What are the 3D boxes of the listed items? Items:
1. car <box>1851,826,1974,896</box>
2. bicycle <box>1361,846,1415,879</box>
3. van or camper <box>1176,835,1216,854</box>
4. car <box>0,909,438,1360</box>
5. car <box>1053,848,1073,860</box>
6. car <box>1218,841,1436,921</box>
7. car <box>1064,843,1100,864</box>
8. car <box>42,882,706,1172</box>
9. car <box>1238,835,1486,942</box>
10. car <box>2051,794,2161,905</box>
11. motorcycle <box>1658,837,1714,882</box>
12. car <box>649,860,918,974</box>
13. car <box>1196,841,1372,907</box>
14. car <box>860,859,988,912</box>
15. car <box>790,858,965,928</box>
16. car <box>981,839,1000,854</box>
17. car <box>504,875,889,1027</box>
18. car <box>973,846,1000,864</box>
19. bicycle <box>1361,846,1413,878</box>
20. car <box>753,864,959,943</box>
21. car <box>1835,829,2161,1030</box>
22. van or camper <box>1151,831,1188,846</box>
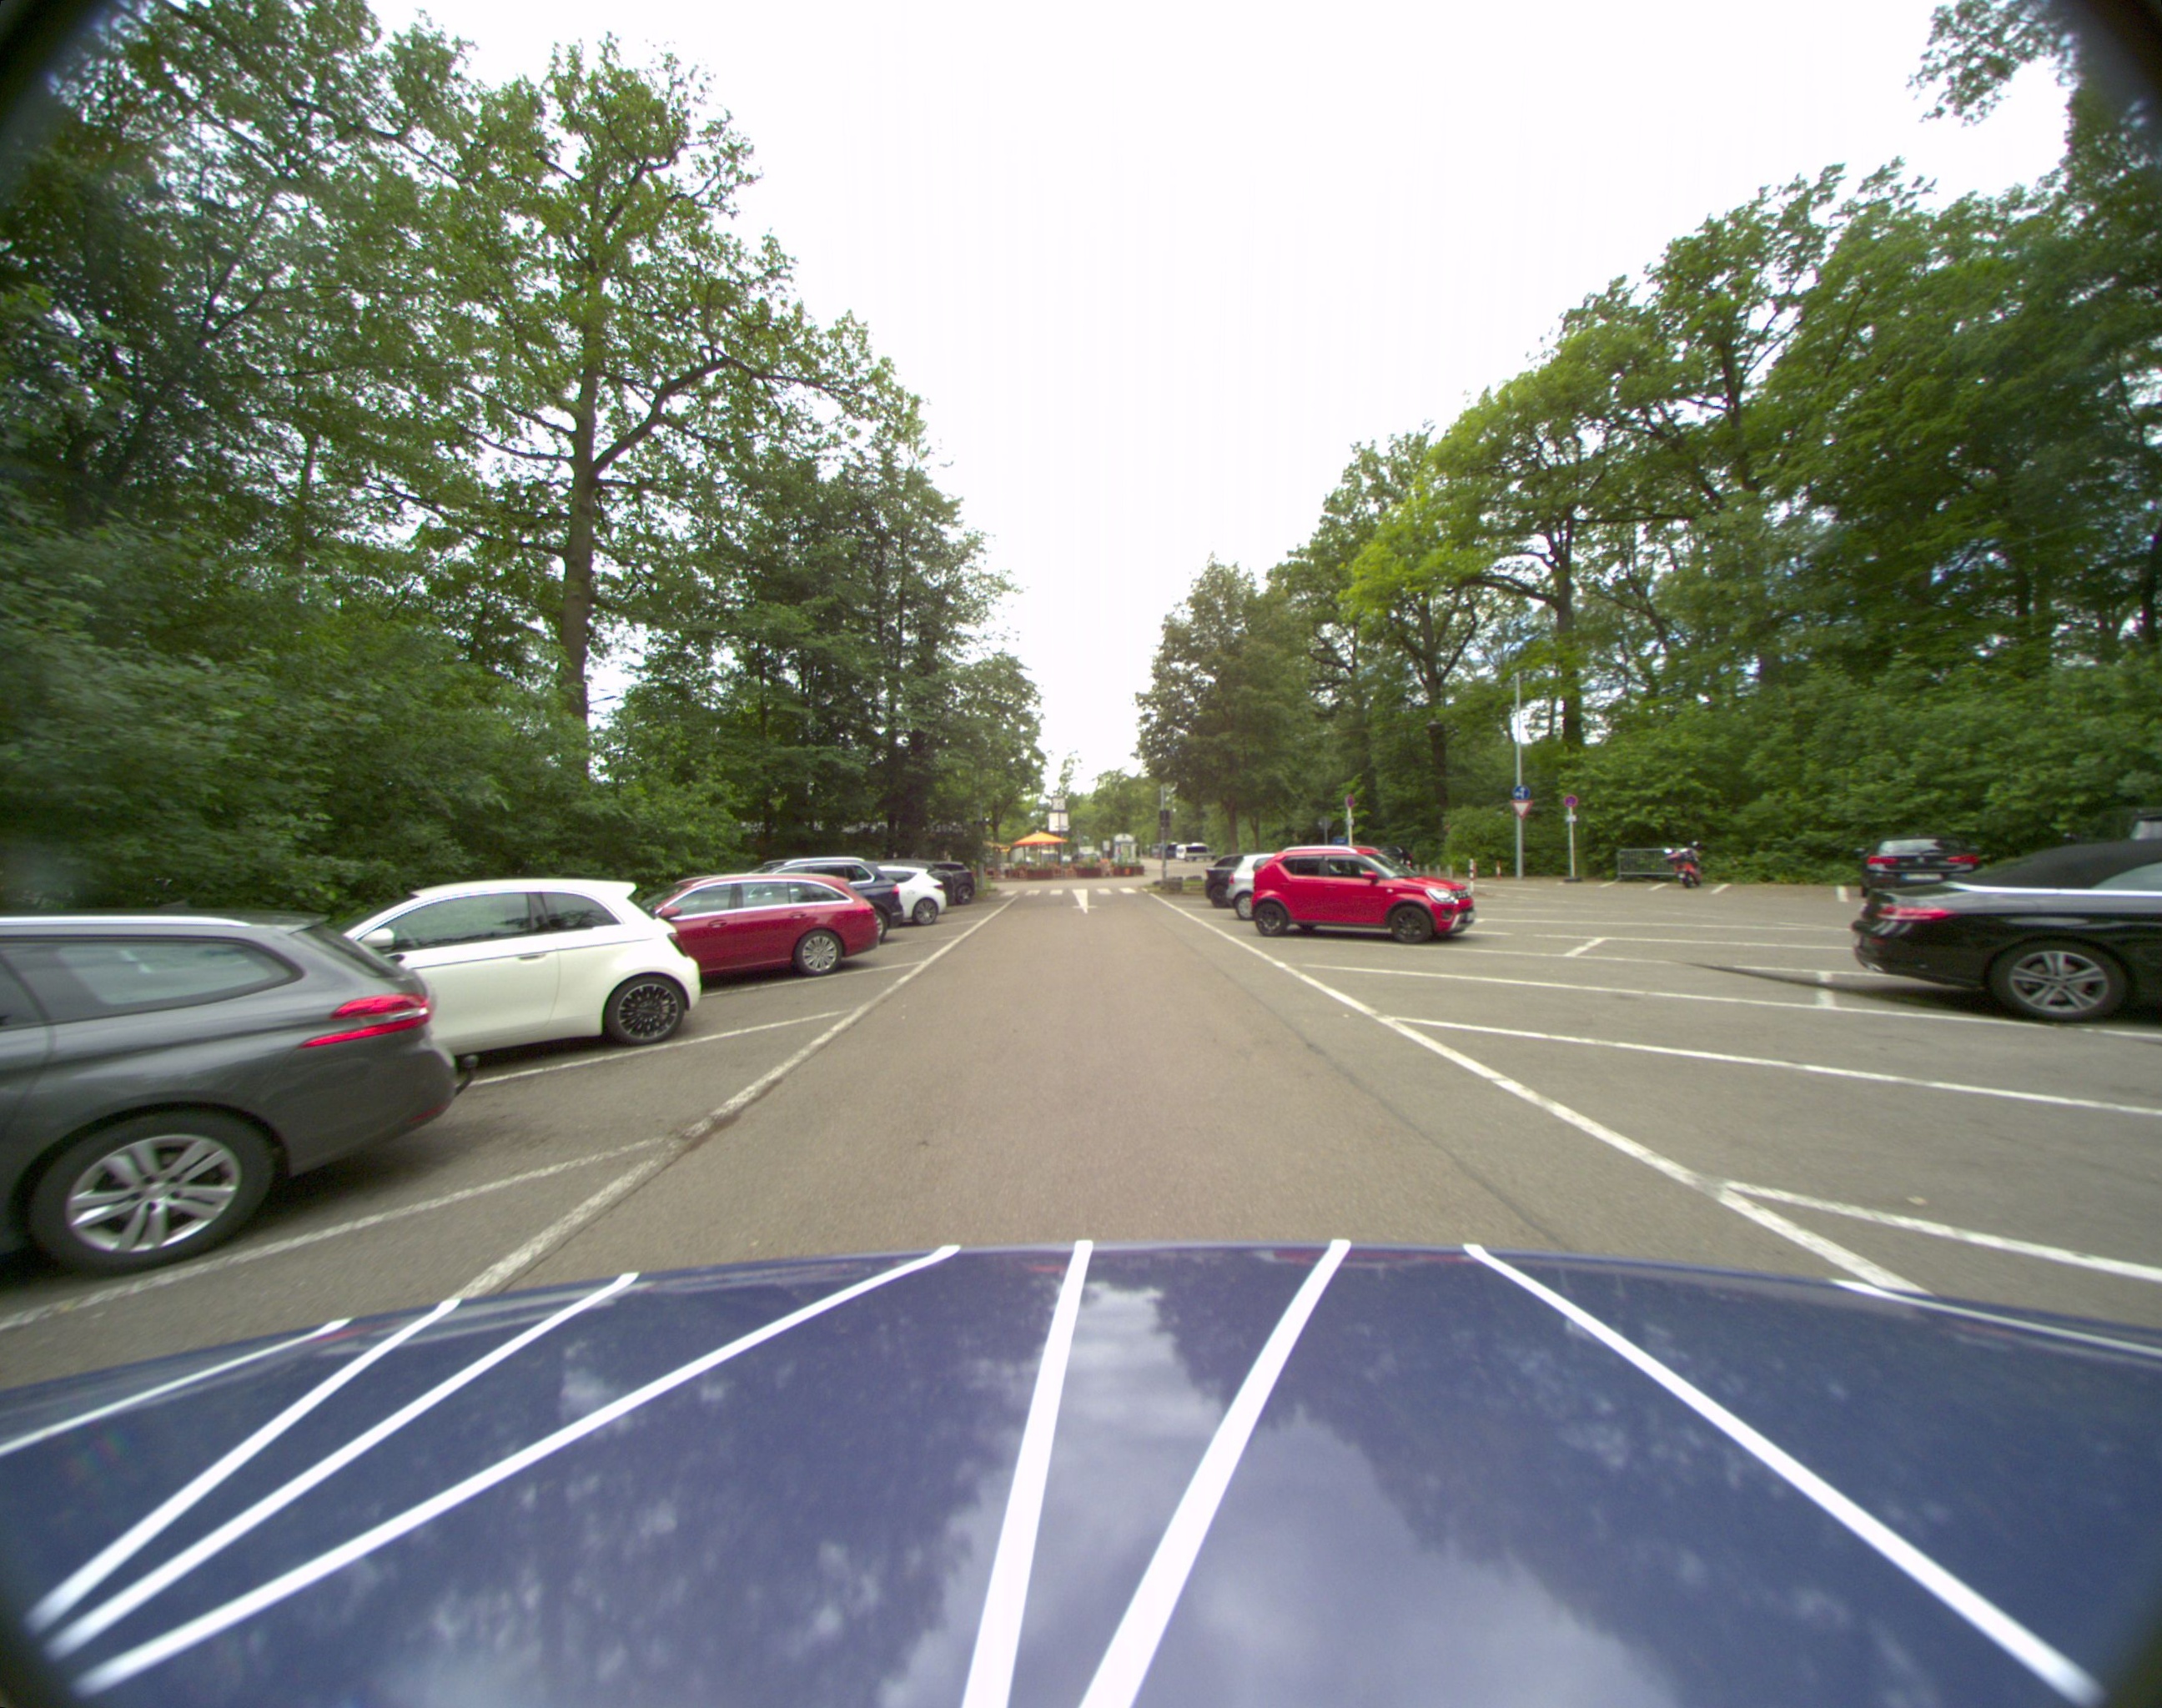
[{"bbox_3d":[18.854,0.102,17.366,4.007,1.368,1.735,-3,1,-44],"label":"car"},{"bbox_3d":[10.804,0.288,26.756,1.683,1.105,0.506,-2,1,6],"label":"bicycle"},{"bbox_3d":[18.749,-1.602,123.435,7.353,2.833,2.063,-3,2,-40],"label":"van or camper"},{"bbox_3d":[-5.155,1.123,2.707,4.195,1.449,1.800,-2,1,-45],"label":"car"},{"bbox_3d":[-2.627,0.002,110.865,1.879,1.769,4.289,-2,1,-17],"label":"car"},{"bbox_3d":[5.181,0.527,16.287,3.989,1.475,1.880,-1,1,42],"label":"car"},{"bbox_3d":[0.040,-0.016,65.155,1.937,1.660,4.339,-2,1,-15],"label":"car"},{"bbox_3d":[-5.349,1.093,6.332,3.589,1.496,1.730,-2,1,-43],"label":"car"},{"bbox_3d":[4.794,0.534,13.229,3.644,1.576,1.690,-1,1,42],"label":"car"},{"bbox_3d":[19.140,-0.150,13.324,4.718,1.757,2.106,-2,1,-44],"label":"car"},{"bbox_3d":[17.781,0.148,22.324,2.033,1.201,0.729,-3,2,-35],"label":"motorcycle"},{"bbox_3d":[-5.305,1.008,13.878,4.127,1.608,1.837,-3,1,-42],"label":"car"},{"bbox_3d":[5.241,0.483,19.983,1.834,1.514,4.089,-3,1,-42],"label":"car"},{"bbox_3d":[-5.155,0.980,25.196,1.695,1.483,3.799,-1,1,44],"label":"car"},{"bbox_3d":[-5.501,0.994,20.916,1.952,1.571,4.211,-1,1,43],"label":"car"},{"bbox_3d":[-12.864,-1.046,108.162,1.879,2.027,4.583,-2,1,-17],"label":"car"},{"bbox_3d":[-5.072,1.113,10.376,4.304,1.406,1.923,-3,1,-41],"label":"car"},{"bbox_3d":[-8.744,0.110,70.409,2.001,1.543,3.995,-2,1,-14],"label":"car"},{"bbox_3d":[11.170,0.284,27.777,1.695,1.105,0.483,-2,1,8],"label":"bicycle"},{"bbox_3d":[-5.142,1.052,17.669,4.127,1.430,1.864,-3,1,-42],"label":"car"},{"bbox_3d":[8.870,0.524,5.810,4.304,1.434,1.873,-1,1,42],"label":"car"},{"bbox_3d":[17.171,-3.018,147.265,7.352,2.833,2.198,-3,1,-35],"label":"van or camper"}]
